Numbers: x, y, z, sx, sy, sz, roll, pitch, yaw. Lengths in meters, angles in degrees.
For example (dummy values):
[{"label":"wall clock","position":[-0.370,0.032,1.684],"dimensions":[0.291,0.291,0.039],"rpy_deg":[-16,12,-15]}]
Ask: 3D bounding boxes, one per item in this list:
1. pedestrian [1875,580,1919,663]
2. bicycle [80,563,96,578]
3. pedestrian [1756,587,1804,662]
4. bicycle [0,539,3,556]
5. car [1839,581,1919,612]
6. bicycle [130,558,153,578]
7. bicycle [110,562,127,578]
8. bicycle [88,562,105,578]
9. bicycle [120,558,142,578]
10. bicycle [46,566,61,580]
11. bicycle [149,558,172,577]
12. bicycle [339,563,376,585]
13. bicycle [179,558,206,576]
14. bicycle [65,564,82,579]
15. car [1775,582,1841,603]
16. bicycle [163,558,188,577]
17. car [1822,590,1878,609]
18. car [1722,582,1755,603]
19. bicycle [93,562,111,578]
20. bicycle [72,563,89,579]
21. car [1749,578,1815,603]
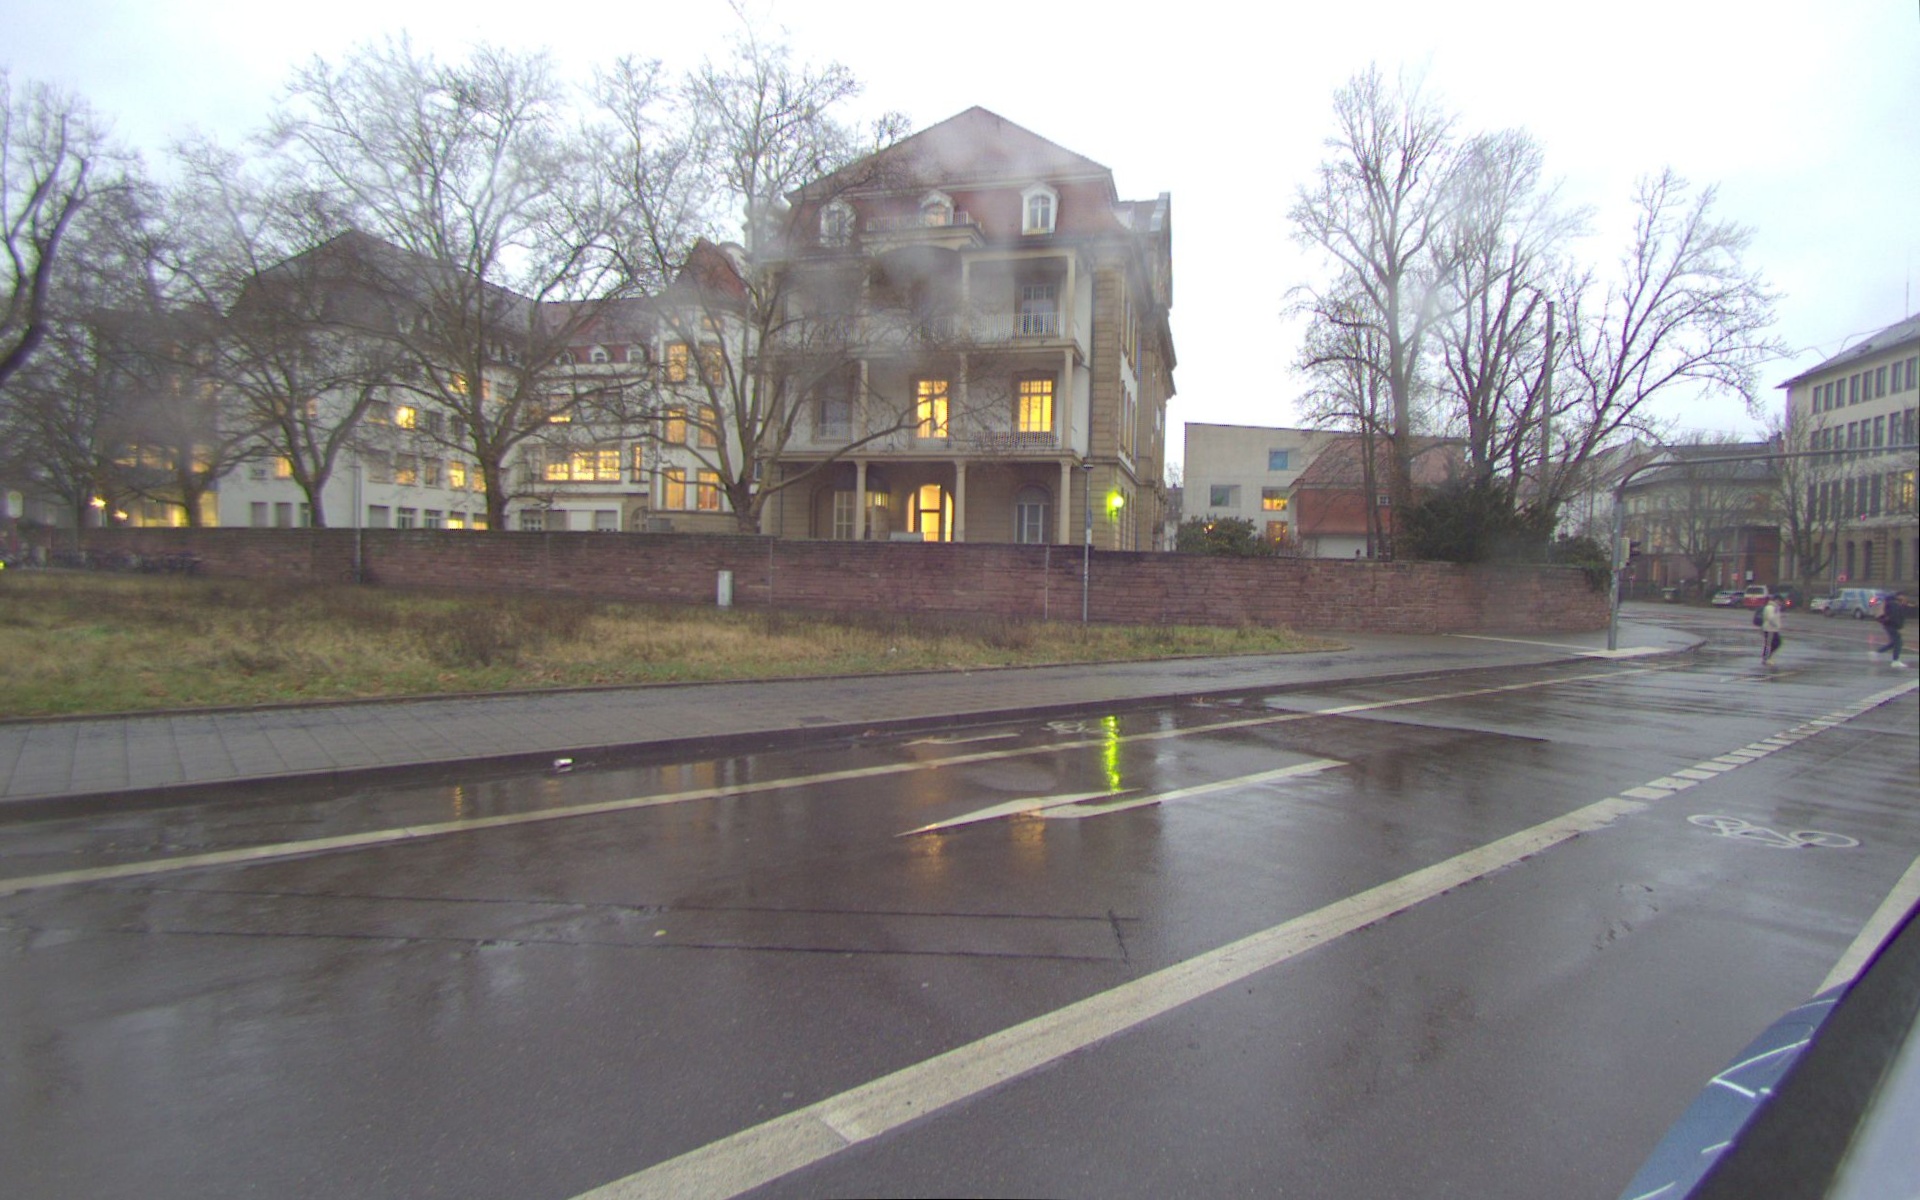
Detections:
[{"label":"pedestrian","position":[22.755,0.503,24.317],"dimensions":[0.995,1.924,0.665],"rpy_deg":[3,3,39]},{"label":"bicycle","position":[-45.445,-1.531,52.741],"dimensions":[1.522,0.796,0.389],"rpy_deg":[0,0,38]},{"label":"pedestrian","position":[20.027,0.580,24.715],"dimensions":[0.796,1.744,0.664],"rpy_deg":[4,3,43]},{"label":"bicycle","position":[-69.572,-3.767,72.937],"dimensions":[1.670,1.182,0.603],"rpy_deg":[0,0,37]},{"label":"car","position":[57.818,-0.227,63.663],"dimensions":[1.851,1.868,3.994],"rpy_deg":[0,0,6]},{"label":"bicycle","position":[-38.630,-1.506,47.767],"dimensions":[1.519,0.869,0.389],"rpy_deg":[0,0,33]},{"label":"bicycle","position":[-41.478,-1.475,49.876],"dimensions":[1.599,0.796,0.388],"rpy_deg":[0,0,41]},{"label":"bicycle","position":[-44.182,-1.528,51.767],"dimensions":[1.522,0.796,0.389],"rpy_deg":[0,0,38]},{"label":"bicycle","position":[-39.912,-1.538,48.721],"dimensions":[1.519,0.928,0.389],"rpy_deg":[0,0,33]},{"label":"bicycle","position":[-51.612,-1.545,57.593],"dimensions":[1.522,0.796,0.389],"rpy_deg":[0,0,38]},{"label":"bicycle","position":[-37.034,-1.496,46.885],"dimensions":[1.480,0.849,0.346],"rpy_deg":[0,0,32]},{"label":"bicycle","position":[-23.388,-0.987,39.270],"dimensions":[1.366,0.835,0.392],"rpy_deg":[0,0,14]},{"label":"bicycle","position":[-34.214,-1.467,45.109],"dimensions":[1.399,0.796,0.355],"rpy_deg":[0,0,26]},{"label":"bicycle","position":[-47.899,-1.537,54.674],"dimensions":[1.522,0.796,0.389],"rpy_deg":[0,0,38]},{"label":"car","position":[64.697,-0.580,77.221],"dimensions":[3.916,1.570,1.805],"rpy_deg":[0,0,-13]},{"label":"bicycle","position":[-35.554,-1.468,45.859],"dimensions":[1.519,0.796,0.389],"rpy_deg":[0,0,33]},{"label":"car","position":[63.599,-0.076,72.296],"dimensions":[3.568,1.322,1.712],"rpy_deg":[-1,0,-25]},{"label":"car","position":[66.478,-0.638,86.383],"dimensions":[1.992,1.690,3.940],"rpy_deg":[0,0,42]},{"label":"bicycle","position":[-43.135,-1.494,50.896],"dimensions":[1.522,0.796,0.389],"rpy_deg":[0,0,38]},{"label":"bicycle","position":[-46.676,-1.534,53.719],"dimensions":[1.522,0.796,0.389],"rpy_deg":[0,0,38]},{"label":"car","position":[64.978,-0.785,80.019],"dimensions":[3.916,1.924,2.052],"rpy_deg":[0,0,-13]}]
